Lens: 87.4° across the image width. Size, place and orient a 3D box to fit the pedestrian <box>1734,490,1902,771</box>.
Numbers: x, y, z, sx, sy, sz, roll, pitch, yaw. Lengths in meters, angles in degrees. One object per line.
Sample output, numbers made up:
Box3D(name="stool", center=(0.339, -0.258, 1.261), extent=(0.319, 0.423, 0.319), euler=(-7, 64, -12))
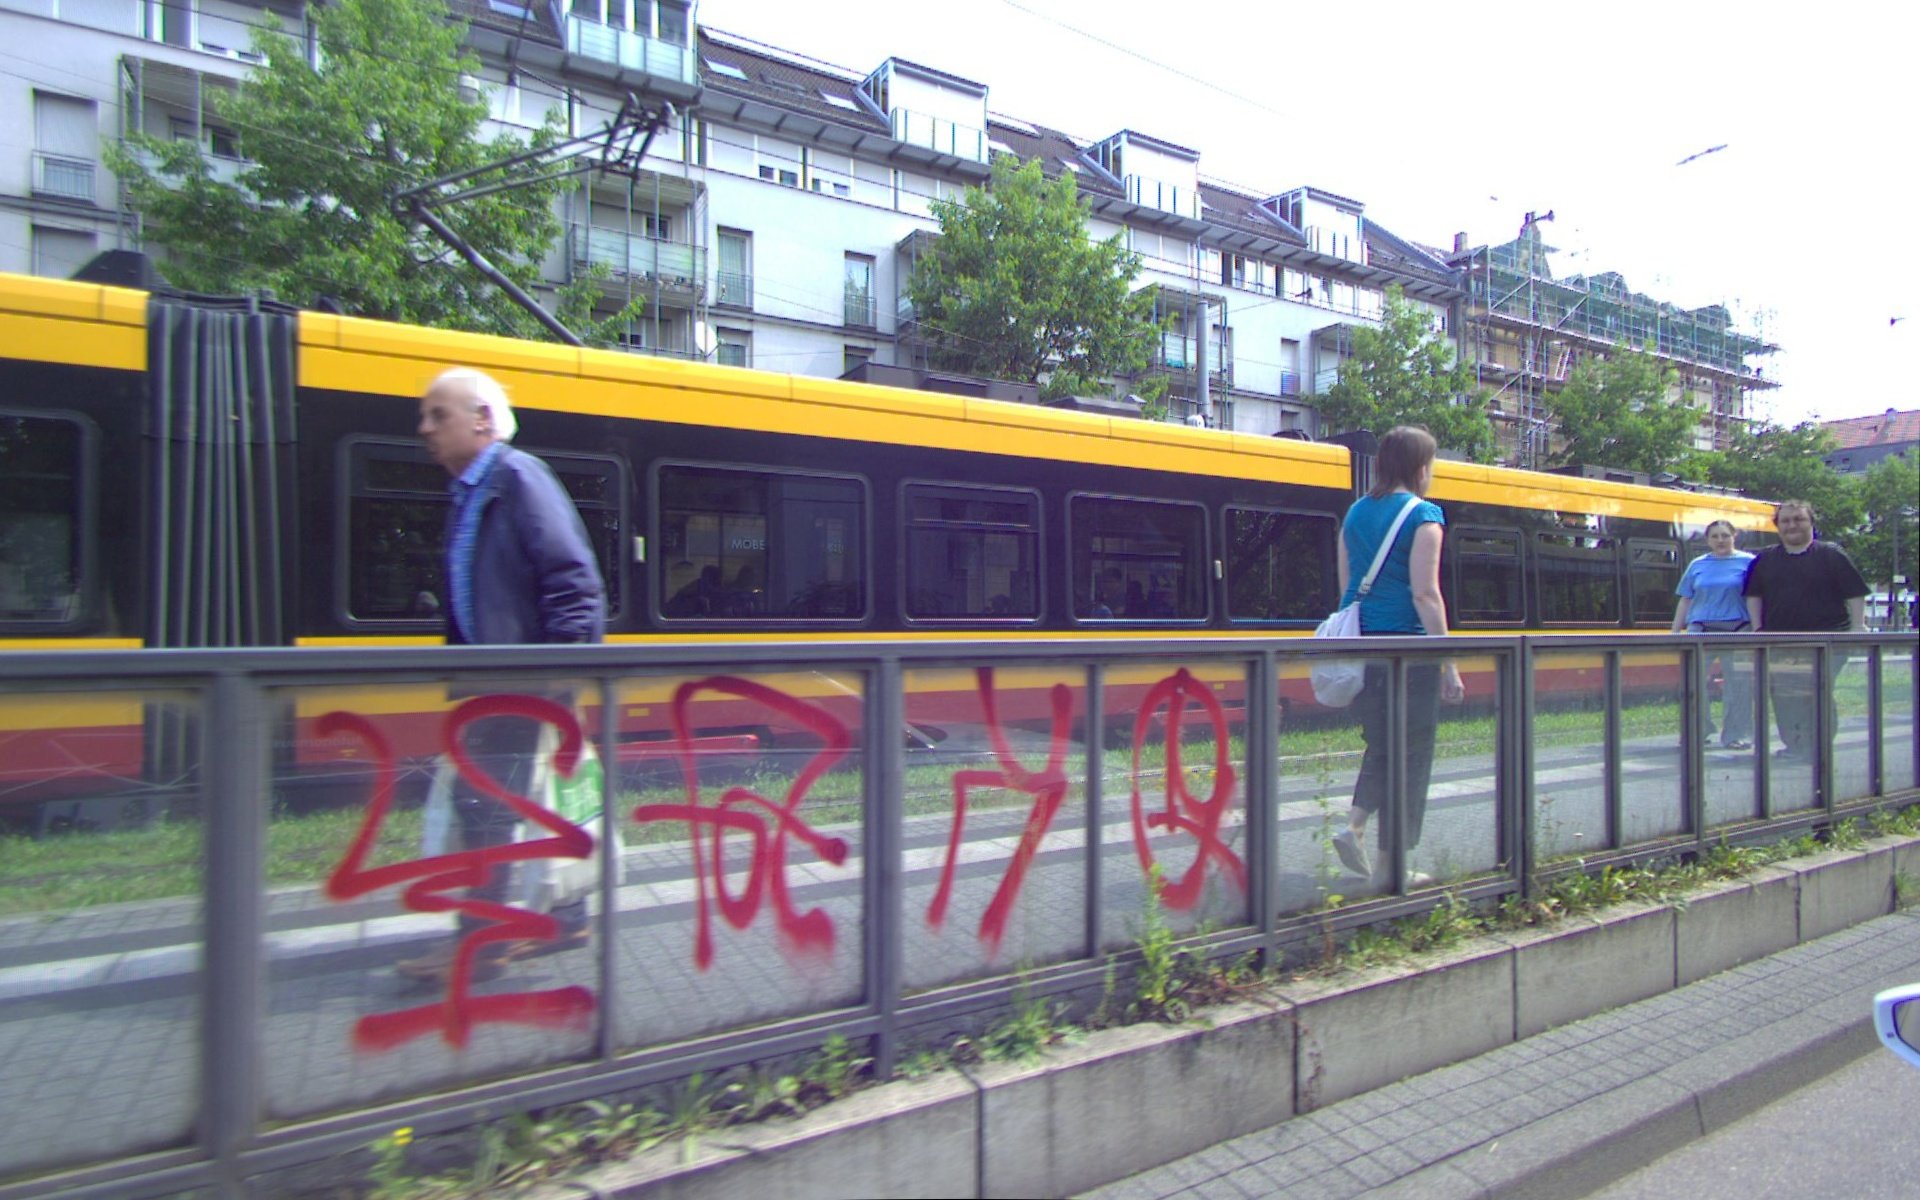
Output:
Box3D(name="pedestrian", center=(6.147, 0.211, 7.209), extent=(0.780, 1.874, 0.698), euler=(1, -1, -30))

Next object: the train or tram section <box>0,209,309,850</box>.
Box3D(name="train or tram section", center=(-10.596, -0.441, 4.325), extent=(12.860, 3.632, 2.794), euler=(1, -1, -30))

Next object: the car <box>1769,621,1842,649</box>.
Box3D(name="car", center=(43.085, 1.751, 51.172), extent=(3.660, 1.389, 1.711), euler=(1, -1, -30))

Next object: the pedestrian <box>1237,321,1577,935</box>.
Box3D(name="pedestrian", center=(1.629, 0.096, 3.720), extent=(0.836, 1.924, 0.823), euler=(1, -1, -29))

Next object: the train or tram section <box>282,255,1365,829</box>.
Box3D(name="train or tram section", center=(-0.492, -0.303, 10.143), extent=(10.279, 3.632, 2.783), euler=(1, -1, -30))

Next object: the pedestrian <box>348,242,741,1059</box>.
Box3D(name="pedestrian", center=(-1.164, 0.119, 2.802), extent=(0.866, 1.798, 0.854), euler=(1, -1, -29))

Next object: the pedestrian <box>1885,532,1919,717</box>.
Box3D(name="pedestrian", center=(10.016, 0.246, 10.125), extent=(1.119, 1.825, 0.708), euler=(0, -1, -30))

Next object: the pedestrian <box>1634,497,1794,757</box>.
Box3D(name="pedestrian", center=(5.838, 0.204, 7.787), extent=(0.897, 1.874, 0.698), euler=(1, -1, -30))

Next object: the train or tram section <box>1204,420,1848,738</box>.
Box3D(name="train or tram section", center=(9.594, -0.164, 15.884), extent=(12.860, 3.632, 2.711), euler=(1, -1, -30))
